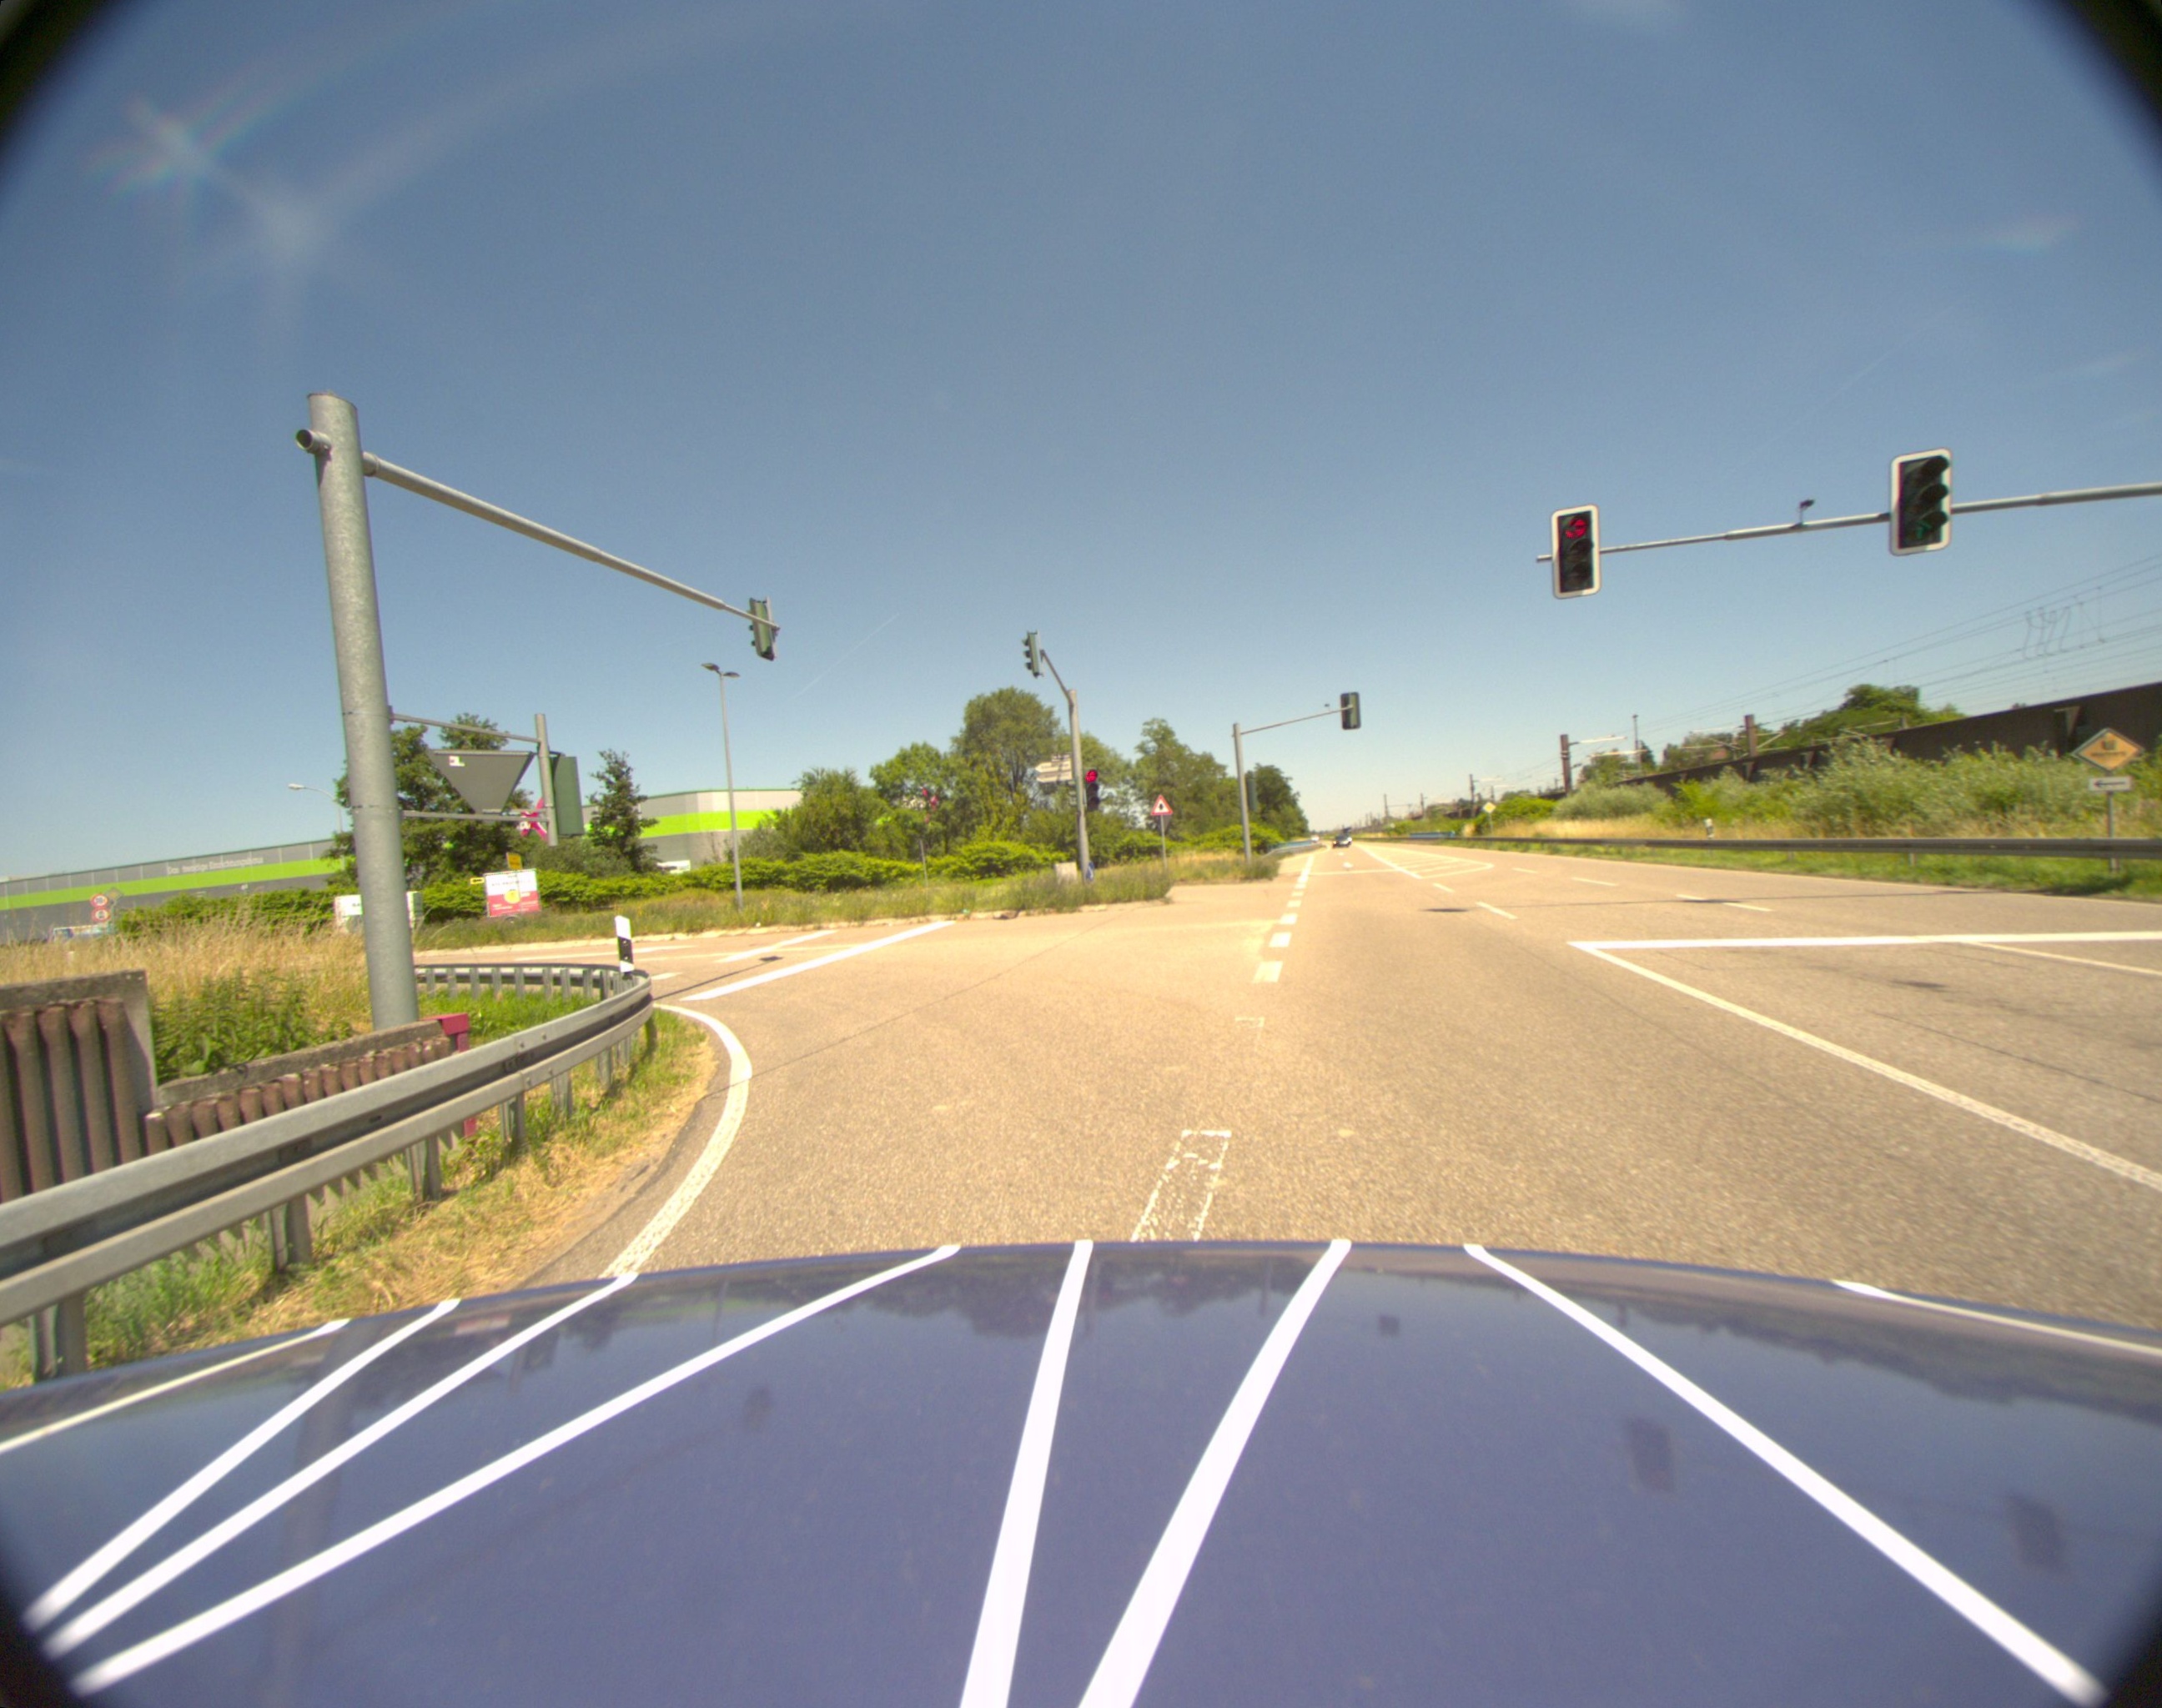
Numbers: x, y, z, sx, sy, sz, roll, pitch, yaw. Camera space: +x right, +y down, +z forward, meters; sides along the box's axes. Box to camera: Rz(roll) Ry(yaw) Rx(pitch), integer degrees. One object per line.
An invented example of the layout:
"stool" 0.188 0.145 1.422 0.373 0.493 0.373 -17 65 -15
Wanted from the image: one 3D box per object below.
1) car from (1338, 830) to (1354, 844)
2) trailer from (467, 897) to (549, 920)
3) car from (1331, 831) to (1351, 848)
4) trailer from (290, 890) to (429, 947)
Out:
"car" 37.474 -2.397 107.248 1.996 1.718 4.005 -4 1 20
"trailer" -27.426 2.600 36.462 2.855 0.734 1.562 -5 2 -26
"car" 30.219 -1.716 88.296 1.996 1.718 4.005 -4 1 20
"trailer" -31.949 2.794 33.798 3.964 2.002 1.852 -5 2 -26
